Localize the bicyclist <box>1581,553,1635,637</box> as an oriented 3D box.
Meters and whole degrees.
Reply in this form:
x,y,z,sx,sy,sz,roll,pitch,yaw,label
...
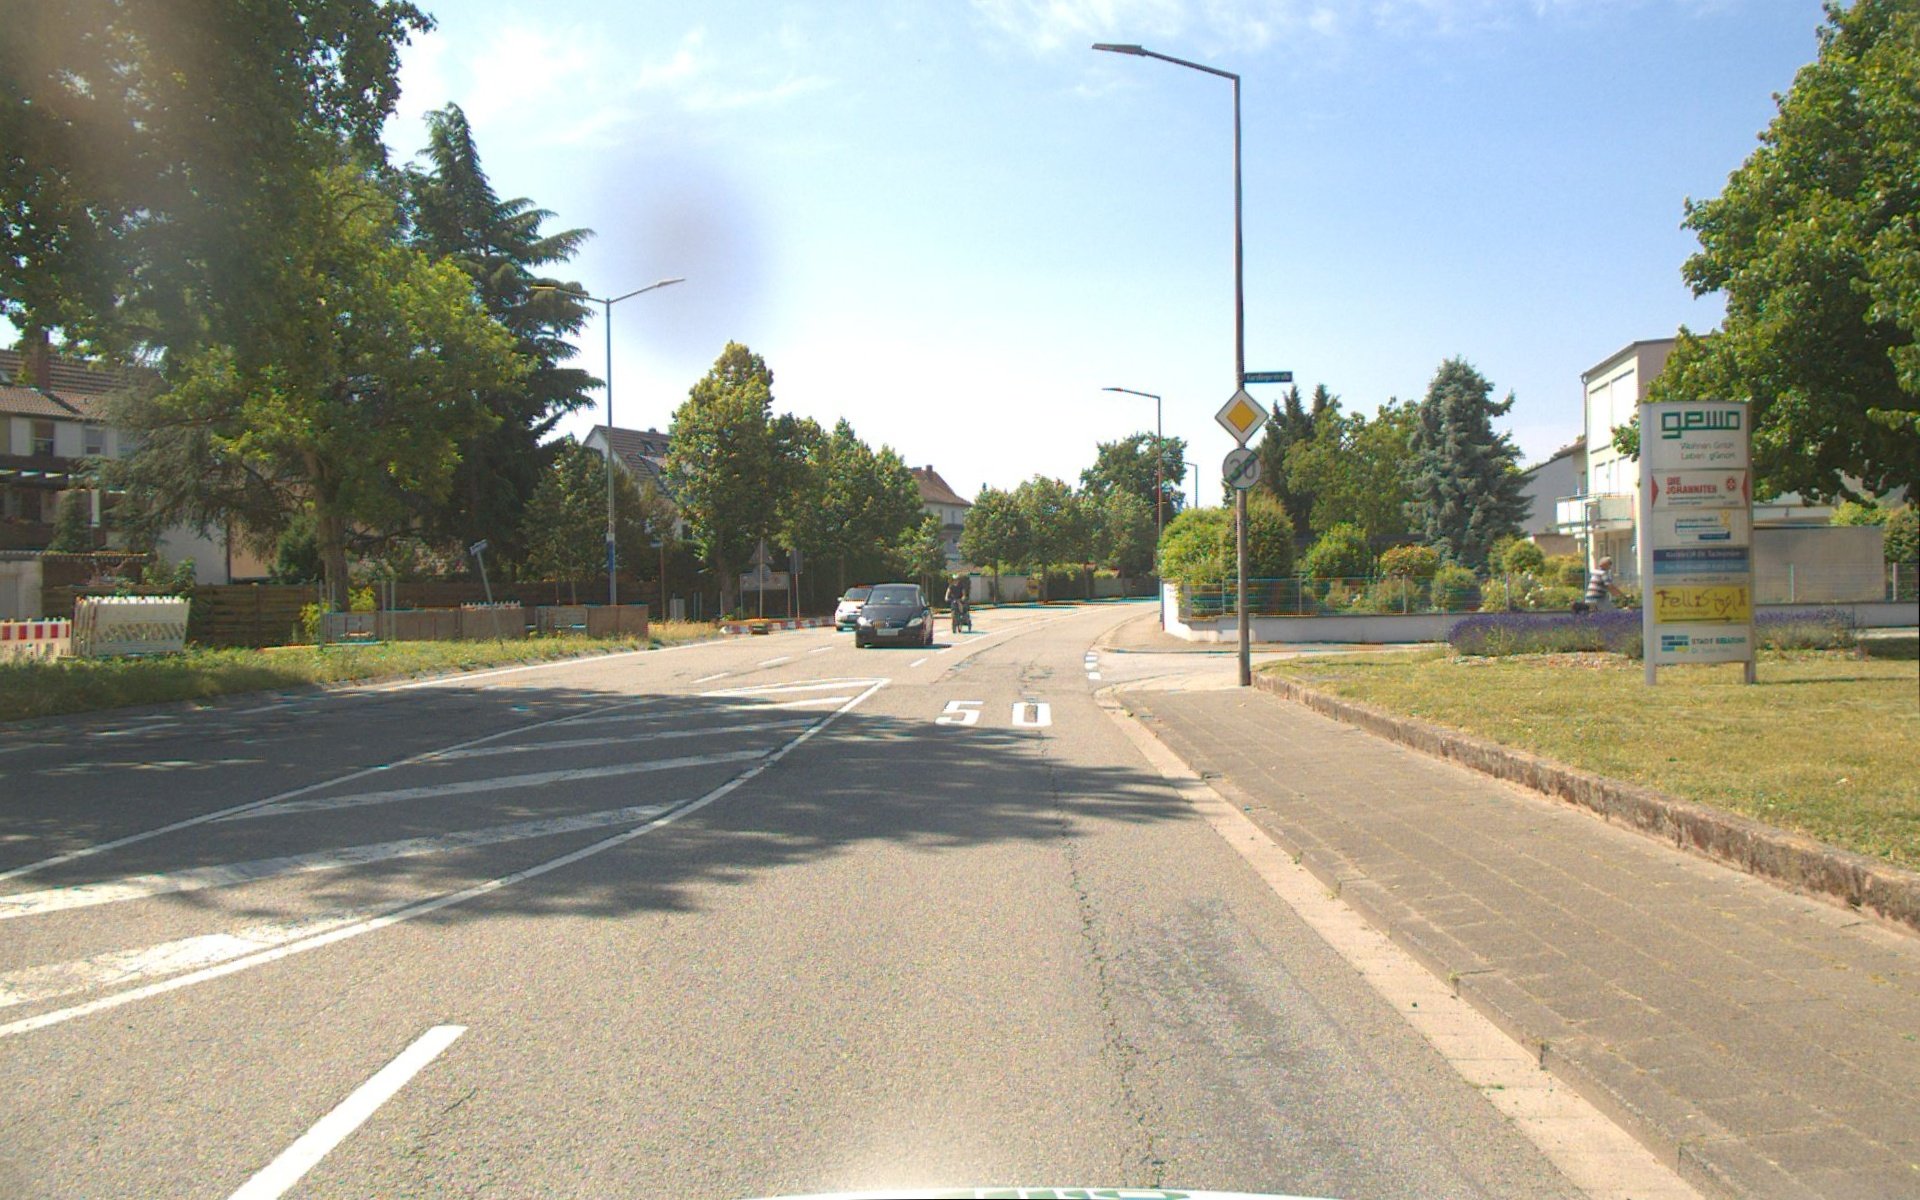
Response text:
x,y,z,sx,sy,sz,roll,pitch,yaw,label
12.324,-0.101,31.483,0.906,1.557,0.856,-2,0,22,bicyclist

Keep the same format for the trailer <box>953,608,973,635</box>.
x,y,z,sx,sy,sz,roll,pitch,yaw,label
0.110,0.710,55.584,0.558,0.871,1.133,-1,0,5,trailer

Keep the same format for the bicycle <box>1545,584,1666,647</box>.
x,y,z,sx,sy,sz,roll,pitch,yaw,label
12.283,0.292,31.525,2.095,1.122,0.816,-2,0,21,bicycle

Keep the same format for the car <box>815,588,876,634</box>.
x,y,z,sx,sy,sz,roll,pitch,yaw,label
-3.897,0.351,56.818,1.663,1.536,3.460,0,0,3,car

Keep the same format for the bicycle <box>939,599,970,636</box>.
x,y,z,sx,sy,sz,roll,pitch,yaw,label
-0.161,0.567,54.043,0.832,1.186,1.978,0,0,5,bicycle

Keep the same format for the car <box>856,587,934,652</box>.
x,y,z,sx,sy,sz,roll,pitch,yaw,label
-1.626,0.464,42.328,1.689,1.559,3.831,0,0,2,car

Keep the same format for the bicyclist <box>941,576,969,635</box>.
x,y,z,sx,sy,sz,roll,pitch,yaw,label
-0.166,0.185,53.999,0.828,1.898,0.977,0,0,5,bicyclist
